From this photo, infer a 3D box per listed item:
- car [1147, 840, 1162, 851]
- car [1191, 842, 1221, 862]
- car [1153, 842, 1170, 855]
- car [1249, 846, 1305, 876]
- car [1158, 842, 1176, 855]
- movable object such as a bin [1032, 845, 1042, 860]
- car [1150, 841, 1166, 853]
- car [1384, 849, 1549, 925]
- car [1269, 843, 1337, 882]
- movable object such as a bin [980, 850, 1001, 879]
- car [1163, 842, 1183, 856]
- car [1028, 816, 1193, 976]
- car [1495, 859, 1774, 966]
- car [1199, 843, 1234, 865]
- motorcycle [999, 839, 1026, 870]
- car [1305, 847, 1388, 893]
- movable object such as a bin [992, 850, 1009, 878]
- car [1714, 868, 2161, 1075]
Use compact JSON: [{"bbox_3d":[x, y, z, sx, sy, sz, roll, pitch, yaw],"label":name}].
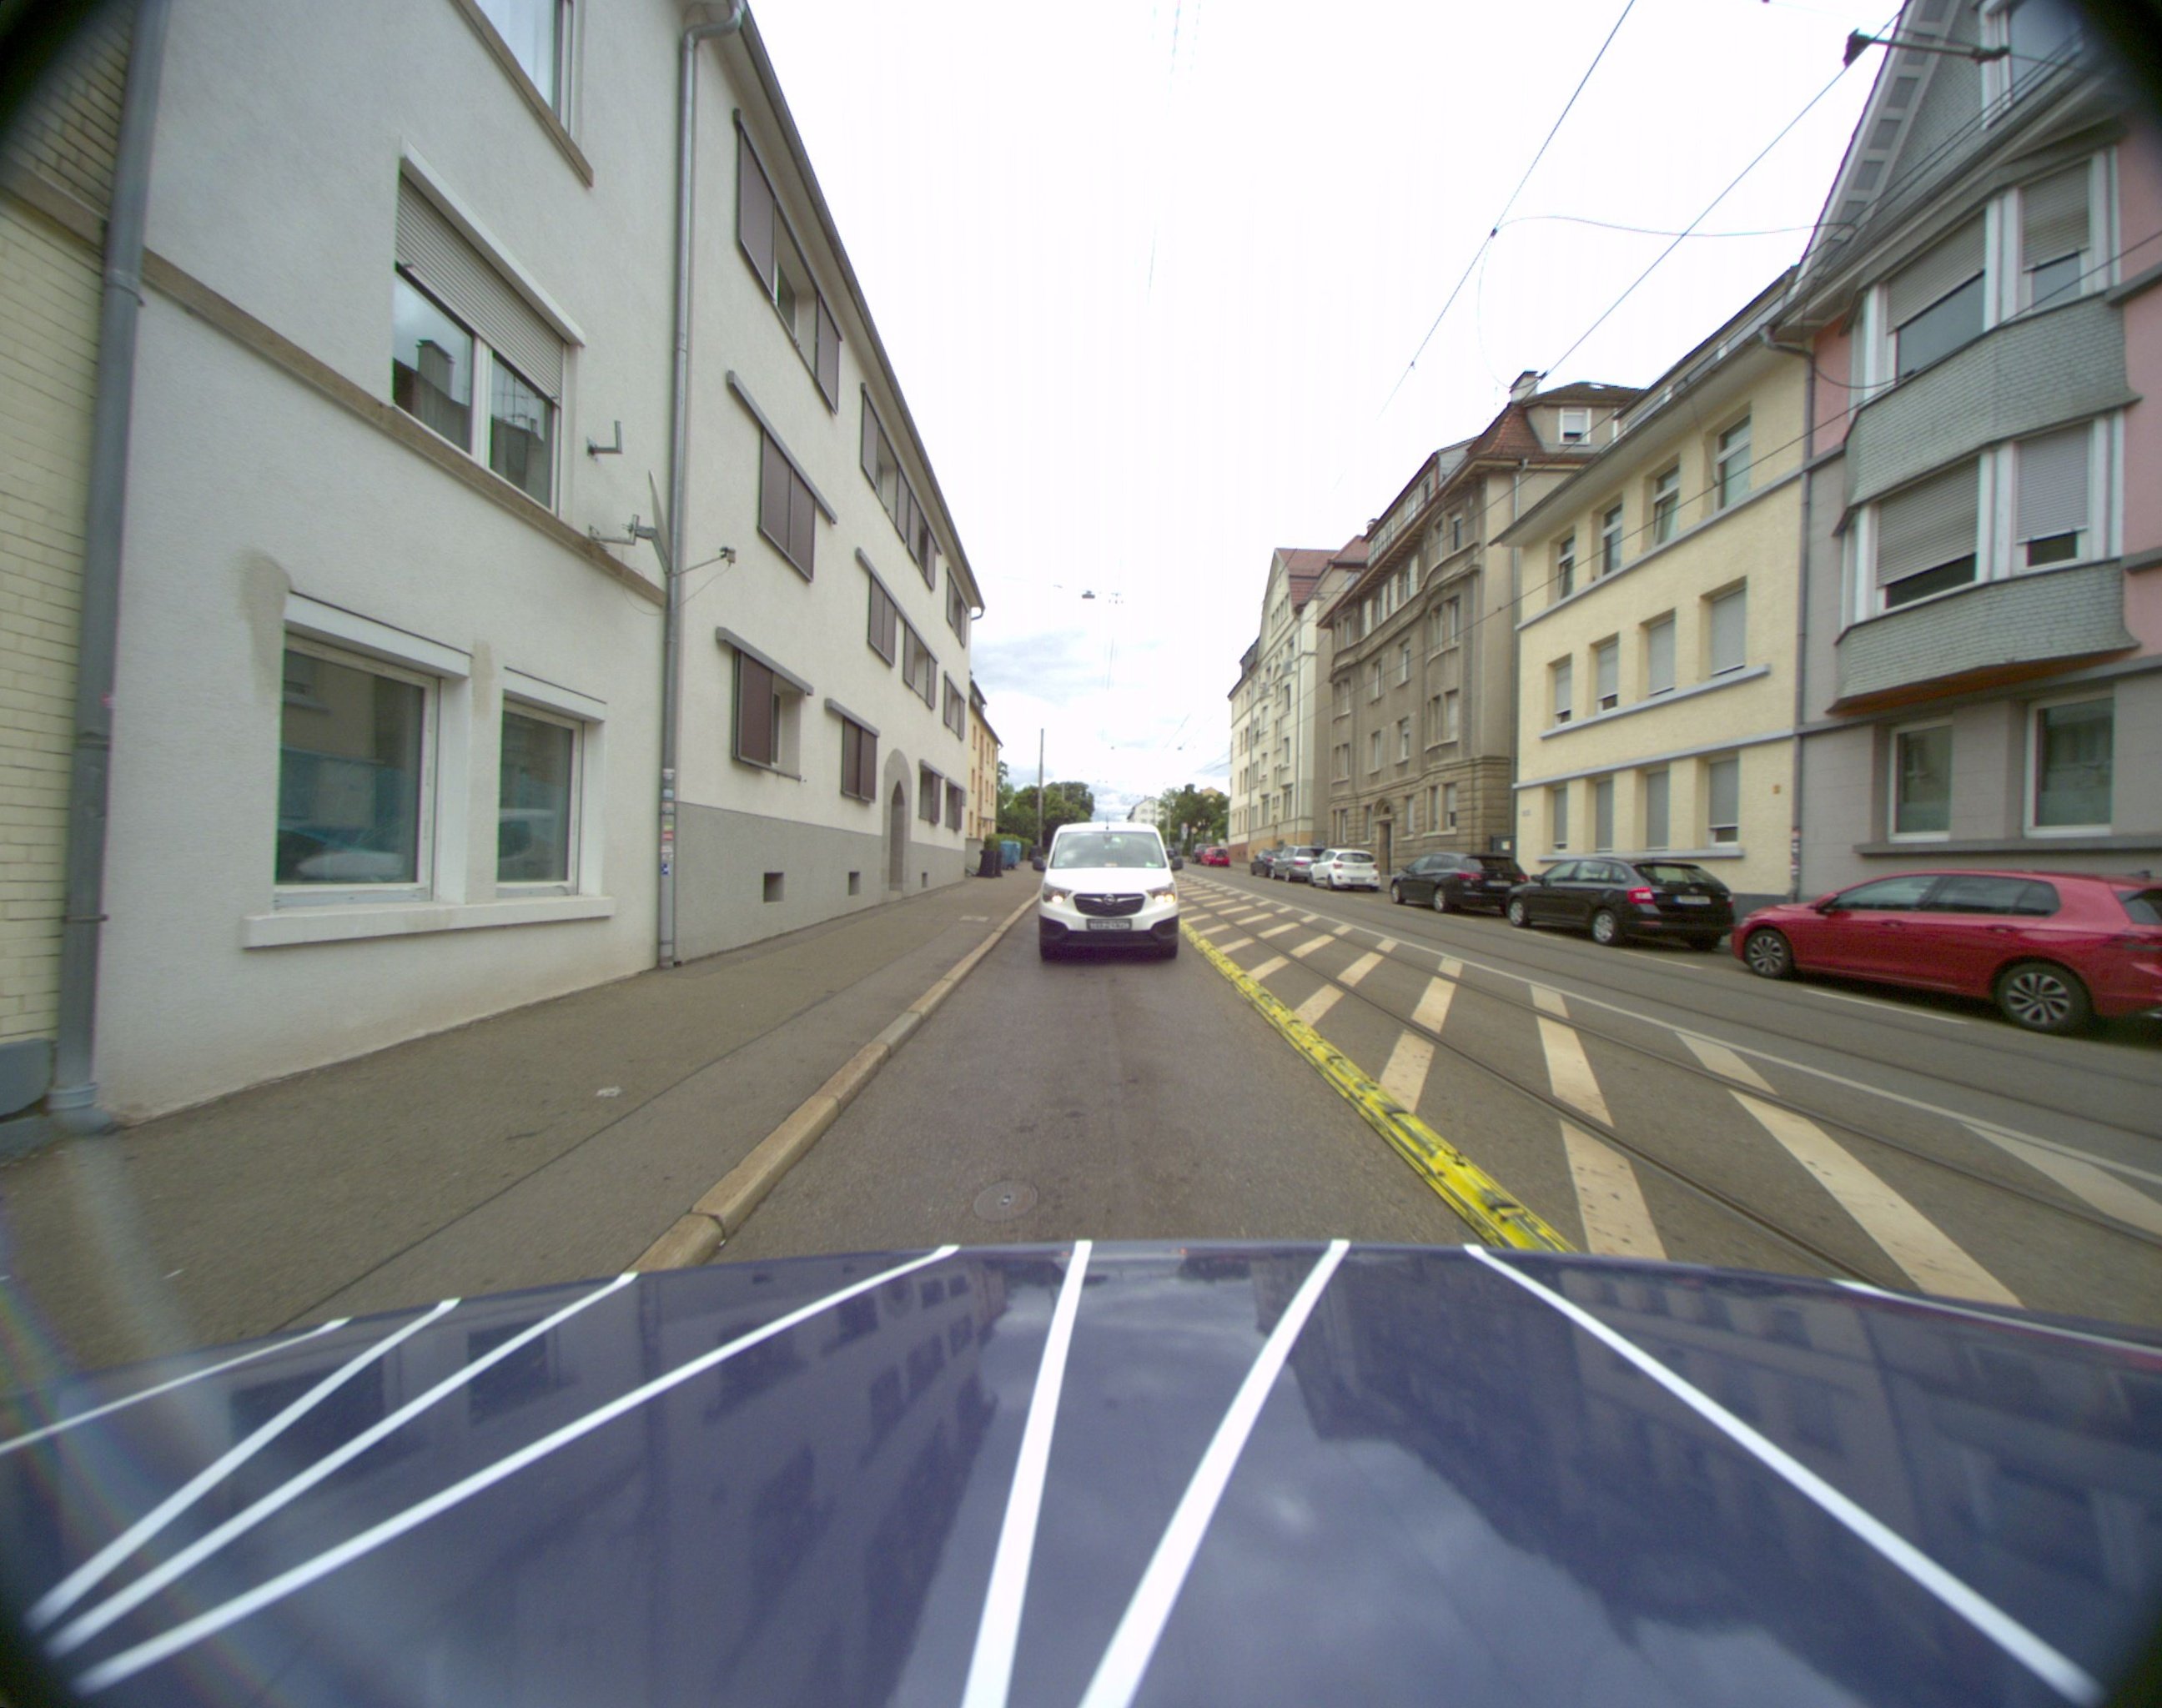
[{"bbox_3d":[10.756,-1.272,111.666,1.743,1.517,3.951,3,1,0],"label":"car"},{"bbox_3d":[10.177,-0.203,62.231,1.743,1.517,3.951,3,1,0],"label":"car"},{"bbox_3d":[10.616,-0.770,100.494,1.743,1.517,3.951,3,1,0],"label":"car"},{"bbox_3d":[9.807,0.329,38.343,1.743,1.373,4.044,1,1,0],"label":"car"},{"bbox_3d":[10.618,-0.734,94.033,1.743,1.517,3.951,3,1,1],"label":"car"},{"bbox_3d":[-3.087,-0.115,53.260,0.669,1.053,0.539,0,1,1],"label":"movable object such as a bin"},{"bbox_3d":[10.664,-0.984,105.795,1.743,1.517,3.951,3,1,0],"label":"car"},{"bbox_3d":[9.301,0.700,18.829,1.789,1.502,4.525,3,1,1],"label":"car"},{"bbox_3d":[9.664,0.337,33.334,1.743,1.558,4.142,0,1,0],"label":"car"},{"bbox_3d":[-3.359,0.391,28.153,0.637,1.003,0.602,4,1,1],"label":"movable object such as a bin"},{"bbox_3d":[10.583,-0.622,87.834,1.743,1.517,3.951,3,1,0],"label":"car"},{"bbox_3d":[0.389,0.438,11.129,1.888,1.828,4.676,-1,1,1],"label":"car"},{"bbox_3d":[9.344,0.879,13.371,1.789,1.402,4.241,3,1,1],"label":"car"},{"bbox_3d":[10.192,-0.042,57.471,1.743,1.450,3.949,2,1,-3],"label":"car"},{"bbox_3d":[-3.246,0.025,36.127,0.731,1.382,1.937,5,1,8],"label":"motorcycle"},{"bbox_3d":[9.610,0.520,27.826,1.743,1.502,3.800,1,1,1],"label":"car"},{"bbox_3d":[-3.055,0.371,28.941,0.565,1.003,0.498,4,1,-8],"label":"movable object such as a bin"},{"bbox_3d":[9.316,0.990,7.958,1.789,1.430,4.260,3,1,1],"label":"car"}]
